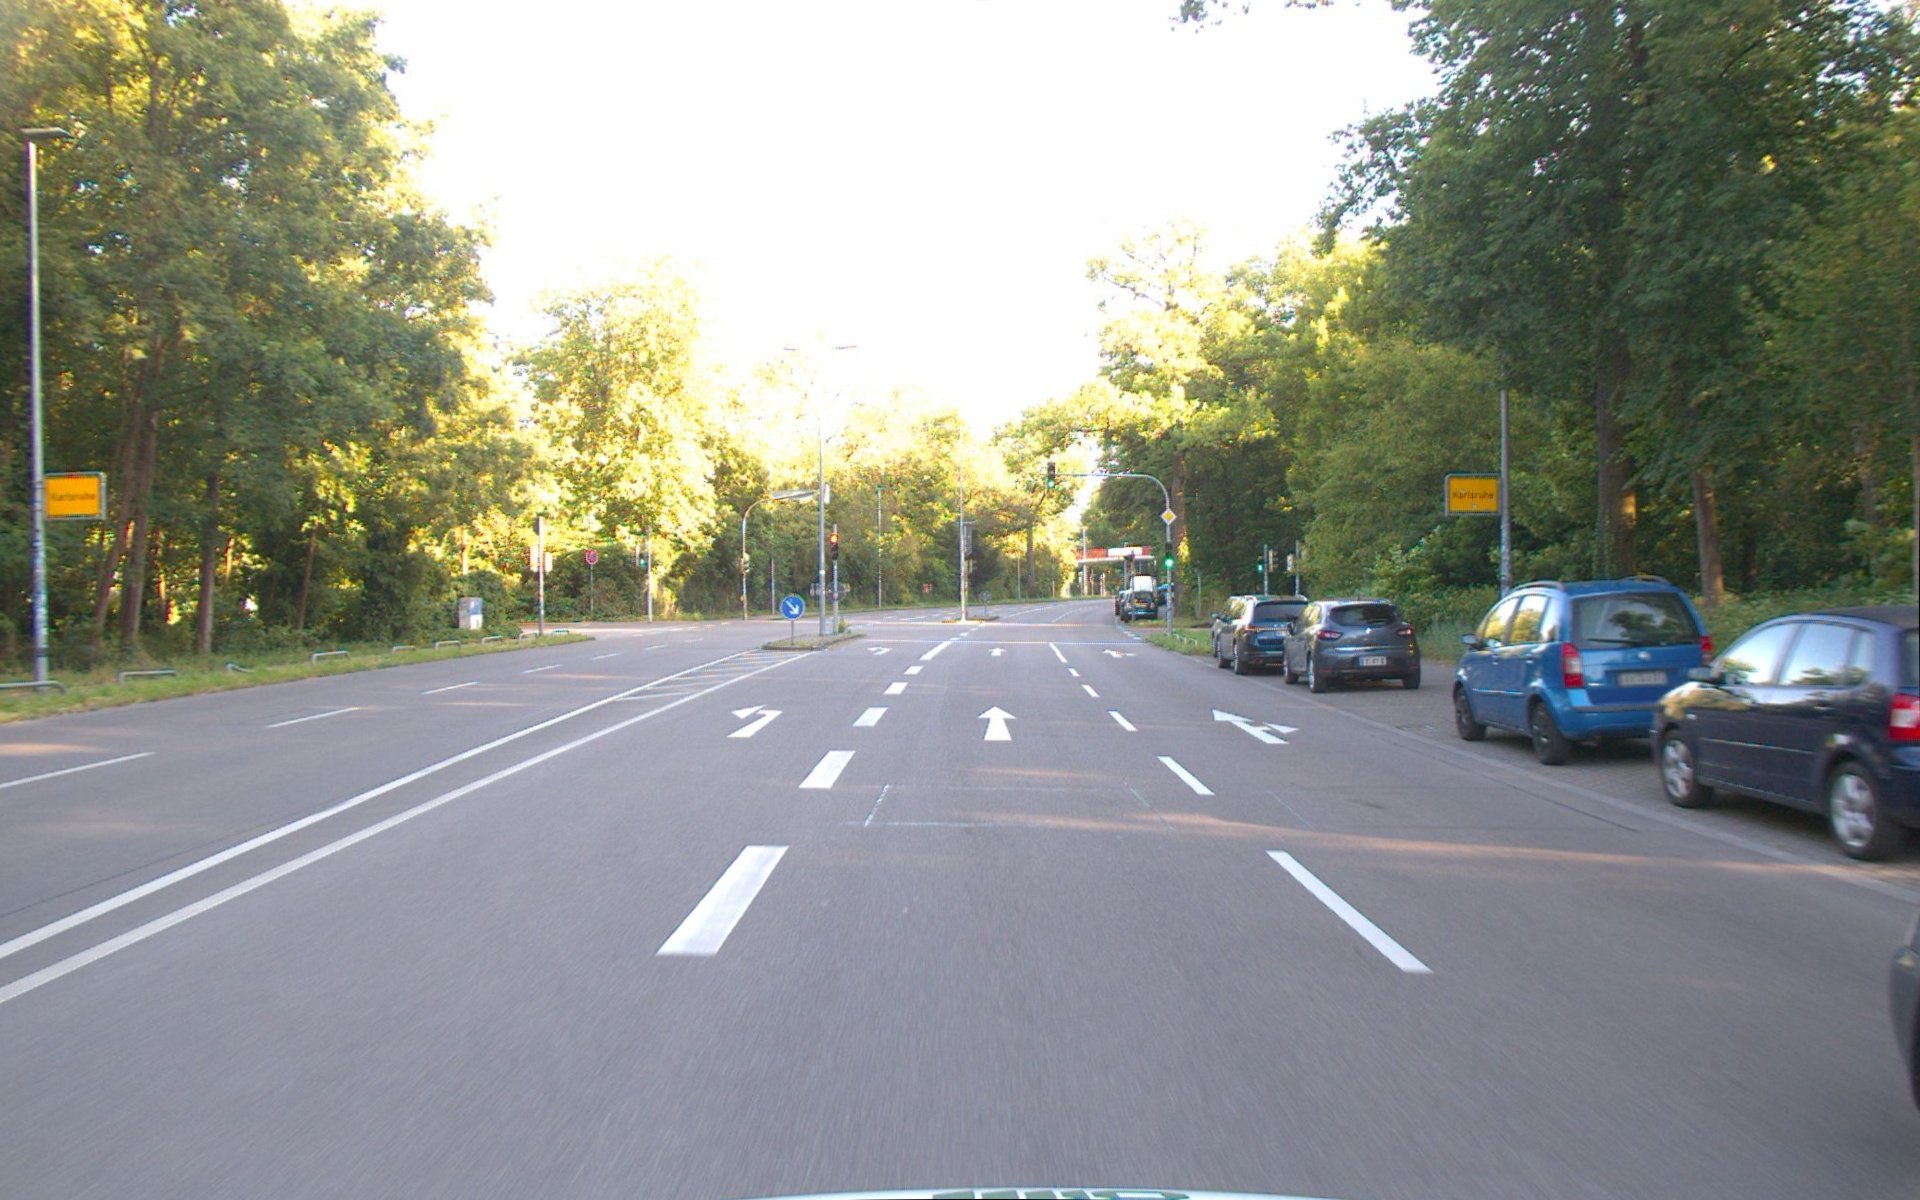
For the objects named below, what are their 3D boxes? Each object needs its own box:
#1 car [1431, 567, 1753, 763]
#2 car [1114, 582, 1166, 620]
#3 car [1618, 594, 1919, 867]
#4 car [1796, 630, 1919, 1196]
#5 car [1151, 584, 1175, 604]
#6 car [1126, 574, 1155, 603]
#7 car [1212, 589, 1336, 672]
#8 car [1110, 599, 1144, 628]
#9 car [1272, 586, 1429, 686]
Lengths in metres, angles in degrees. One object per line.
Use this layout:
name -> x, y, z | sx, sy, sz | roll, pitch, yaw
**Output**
car -> 6.203, 0.564, 16.744 | 1.692, 1.734, 4.089 | 0, 0, 0
car -> 8.691, 0.028, 80.179 | 1.953, 1.646, 4.000 | -4, 0, 0
car -> 6.130, 0.717, 11.278 | 1.616, 1.466, 4.113 | -1, 0, 0
car -> 3.387, 0.839, 2.931 | 1.692, 1.466, 4.089 | 0, 0, -1
car -> 19.733, -0.567, 161.147 | 1.952, 1.937, 4.001 | 0, 0, 2
car -> 14.734, -0.937, 135.332 | 2.259, 2.376, 4.562 | 0, 0, 5
car -> 6.172, 0.551, 32.921 | 1.692, 1.487, 4.167 | -2, 0, 1
car -> 10.247, 0.813, 101.857 | 1.952, 1.646, 4.003 | -3, 0, 5
car -> 6.391, 0.537, 27.509 | 1.692, 1.516, 4.090 | -1, 0, 1
